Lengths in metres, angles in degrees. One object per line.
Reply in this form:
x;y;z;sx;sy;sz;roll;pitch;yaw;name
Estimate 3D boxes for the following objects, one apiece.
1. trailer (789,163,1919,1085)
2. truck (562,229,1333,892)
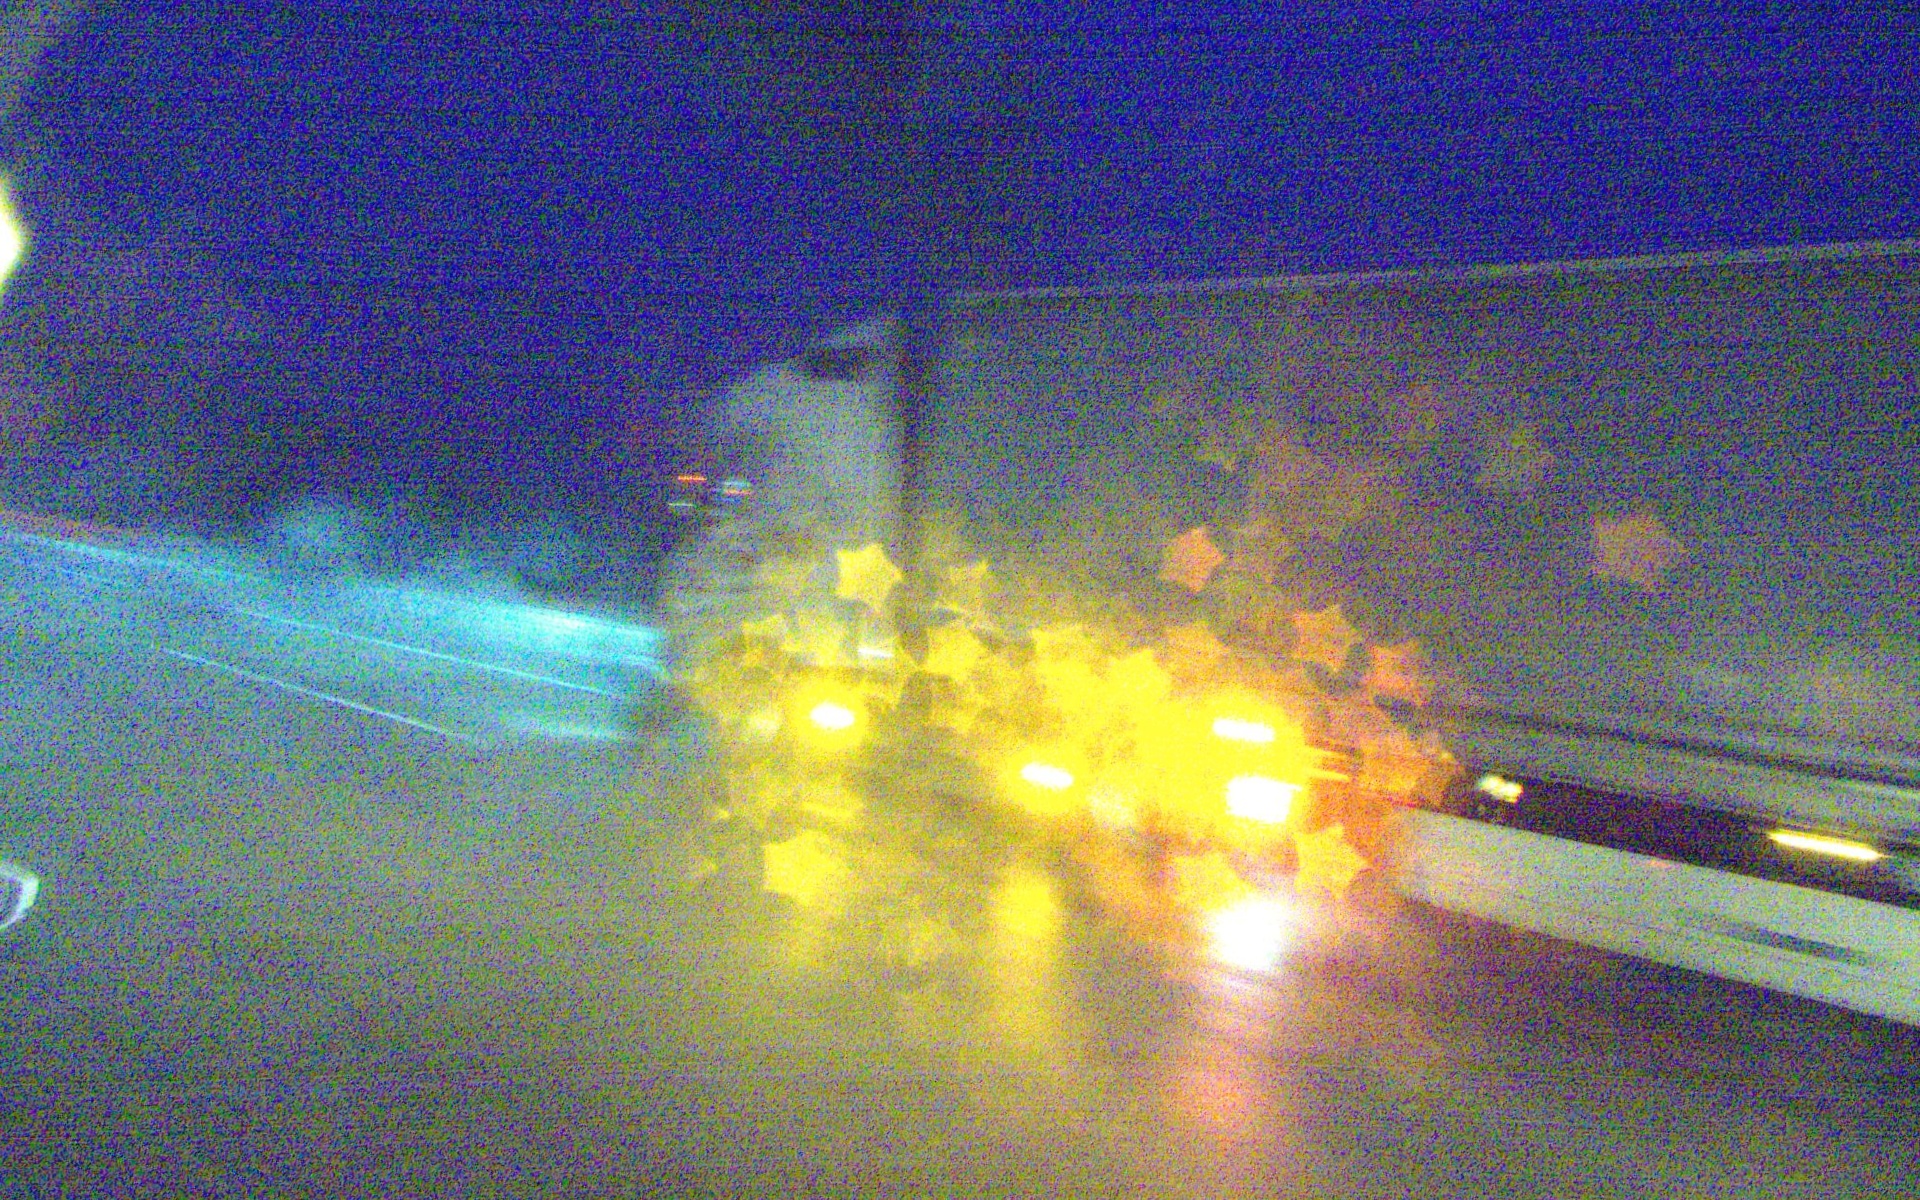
5.653;0.237;5.461;14.245;4.161;2.906;7;1;31;trailer
-0.246;-0.443;9.065;5.930;4.161;2.906;7;1;31;truck
